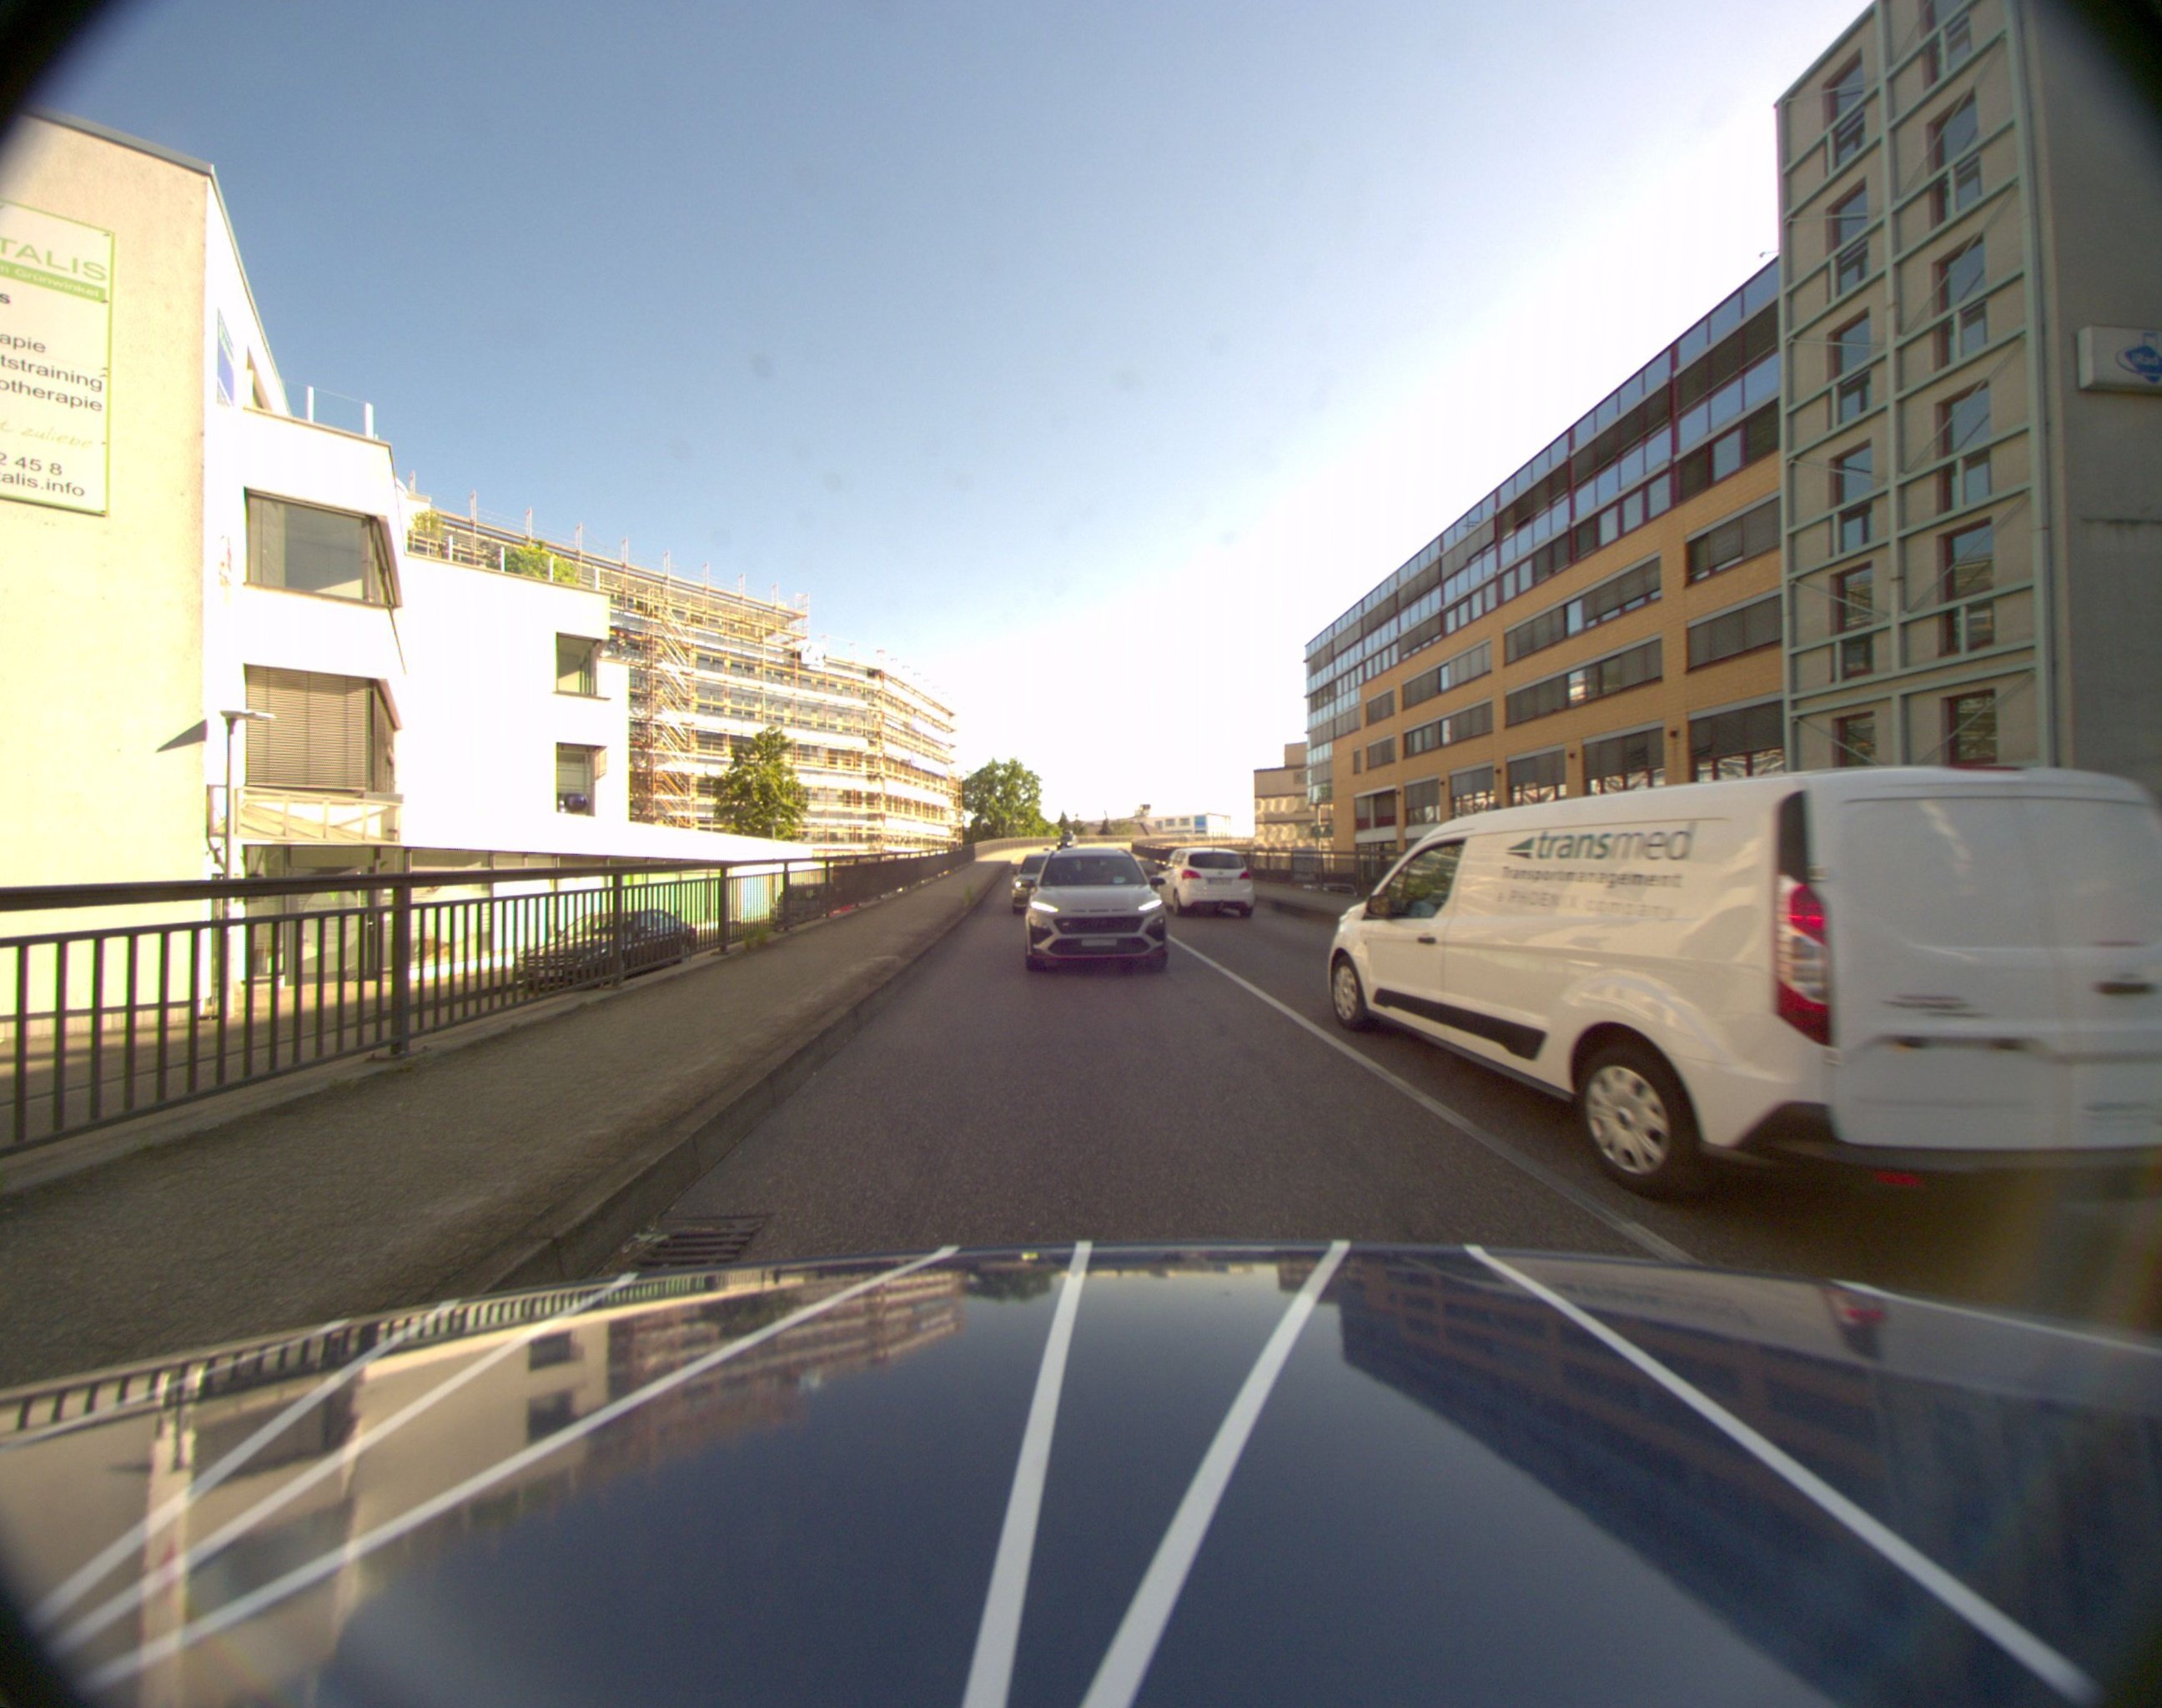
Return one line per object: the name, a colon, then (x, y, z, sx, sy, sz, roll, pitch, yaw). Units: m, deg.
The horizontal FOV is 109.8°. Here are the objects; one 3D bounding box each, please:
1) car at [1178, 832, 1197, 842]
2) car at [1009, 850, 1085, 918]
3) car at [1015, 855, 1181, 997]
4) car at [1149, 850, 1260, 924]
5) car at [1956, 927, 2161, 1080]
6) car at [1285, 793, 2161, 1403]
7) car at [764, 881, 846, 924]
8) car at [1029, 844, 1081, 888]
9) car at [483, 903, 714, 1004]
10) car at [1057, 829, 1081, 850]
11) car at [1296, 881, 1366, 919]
car: (18.053, -2.856, 128.960, 1.821, 1.594, 4.007, -1, 0, 30)
car: (-0.806, 0.684, 19.683, 1.721, 1.483, 4.168, -2, 1, -1)
car: (0.167, 0.818, 10.733, 1.849, 1.561, 4.220, -1, 0, -1)
car: (2.890, 0.714, 18.711, 1.825, 1.594, 3.998, 1, 0, -4)
car: (13.477, 1.823, 8.674, 1.825, 1.594, 4.356, 0, -1, -4)
car: (3.061, 0.748, 4.855, 1.815, 1.790, 5.119, 0, -1, -4)
car: (-10.850, 1.862, 30.156, 1.849, 1.526, 4.000, 0, -1, -1)
car: (-1.012, 0.409, 29.898, 1.849, 1.527, 4.506, -2, 1, -2)
car: (-9.938, 1.969, 16.205, 1.849, 1.422, 4.681, -2, 1, 0)
car: (-1.317, -1.681, 85.917, 1.908, 2.202, 4.598, 0, 4, 8)
car: (11.899, 2.153, 36.415, 1.999, 1.652, 4.000, 0, -1, -1)
